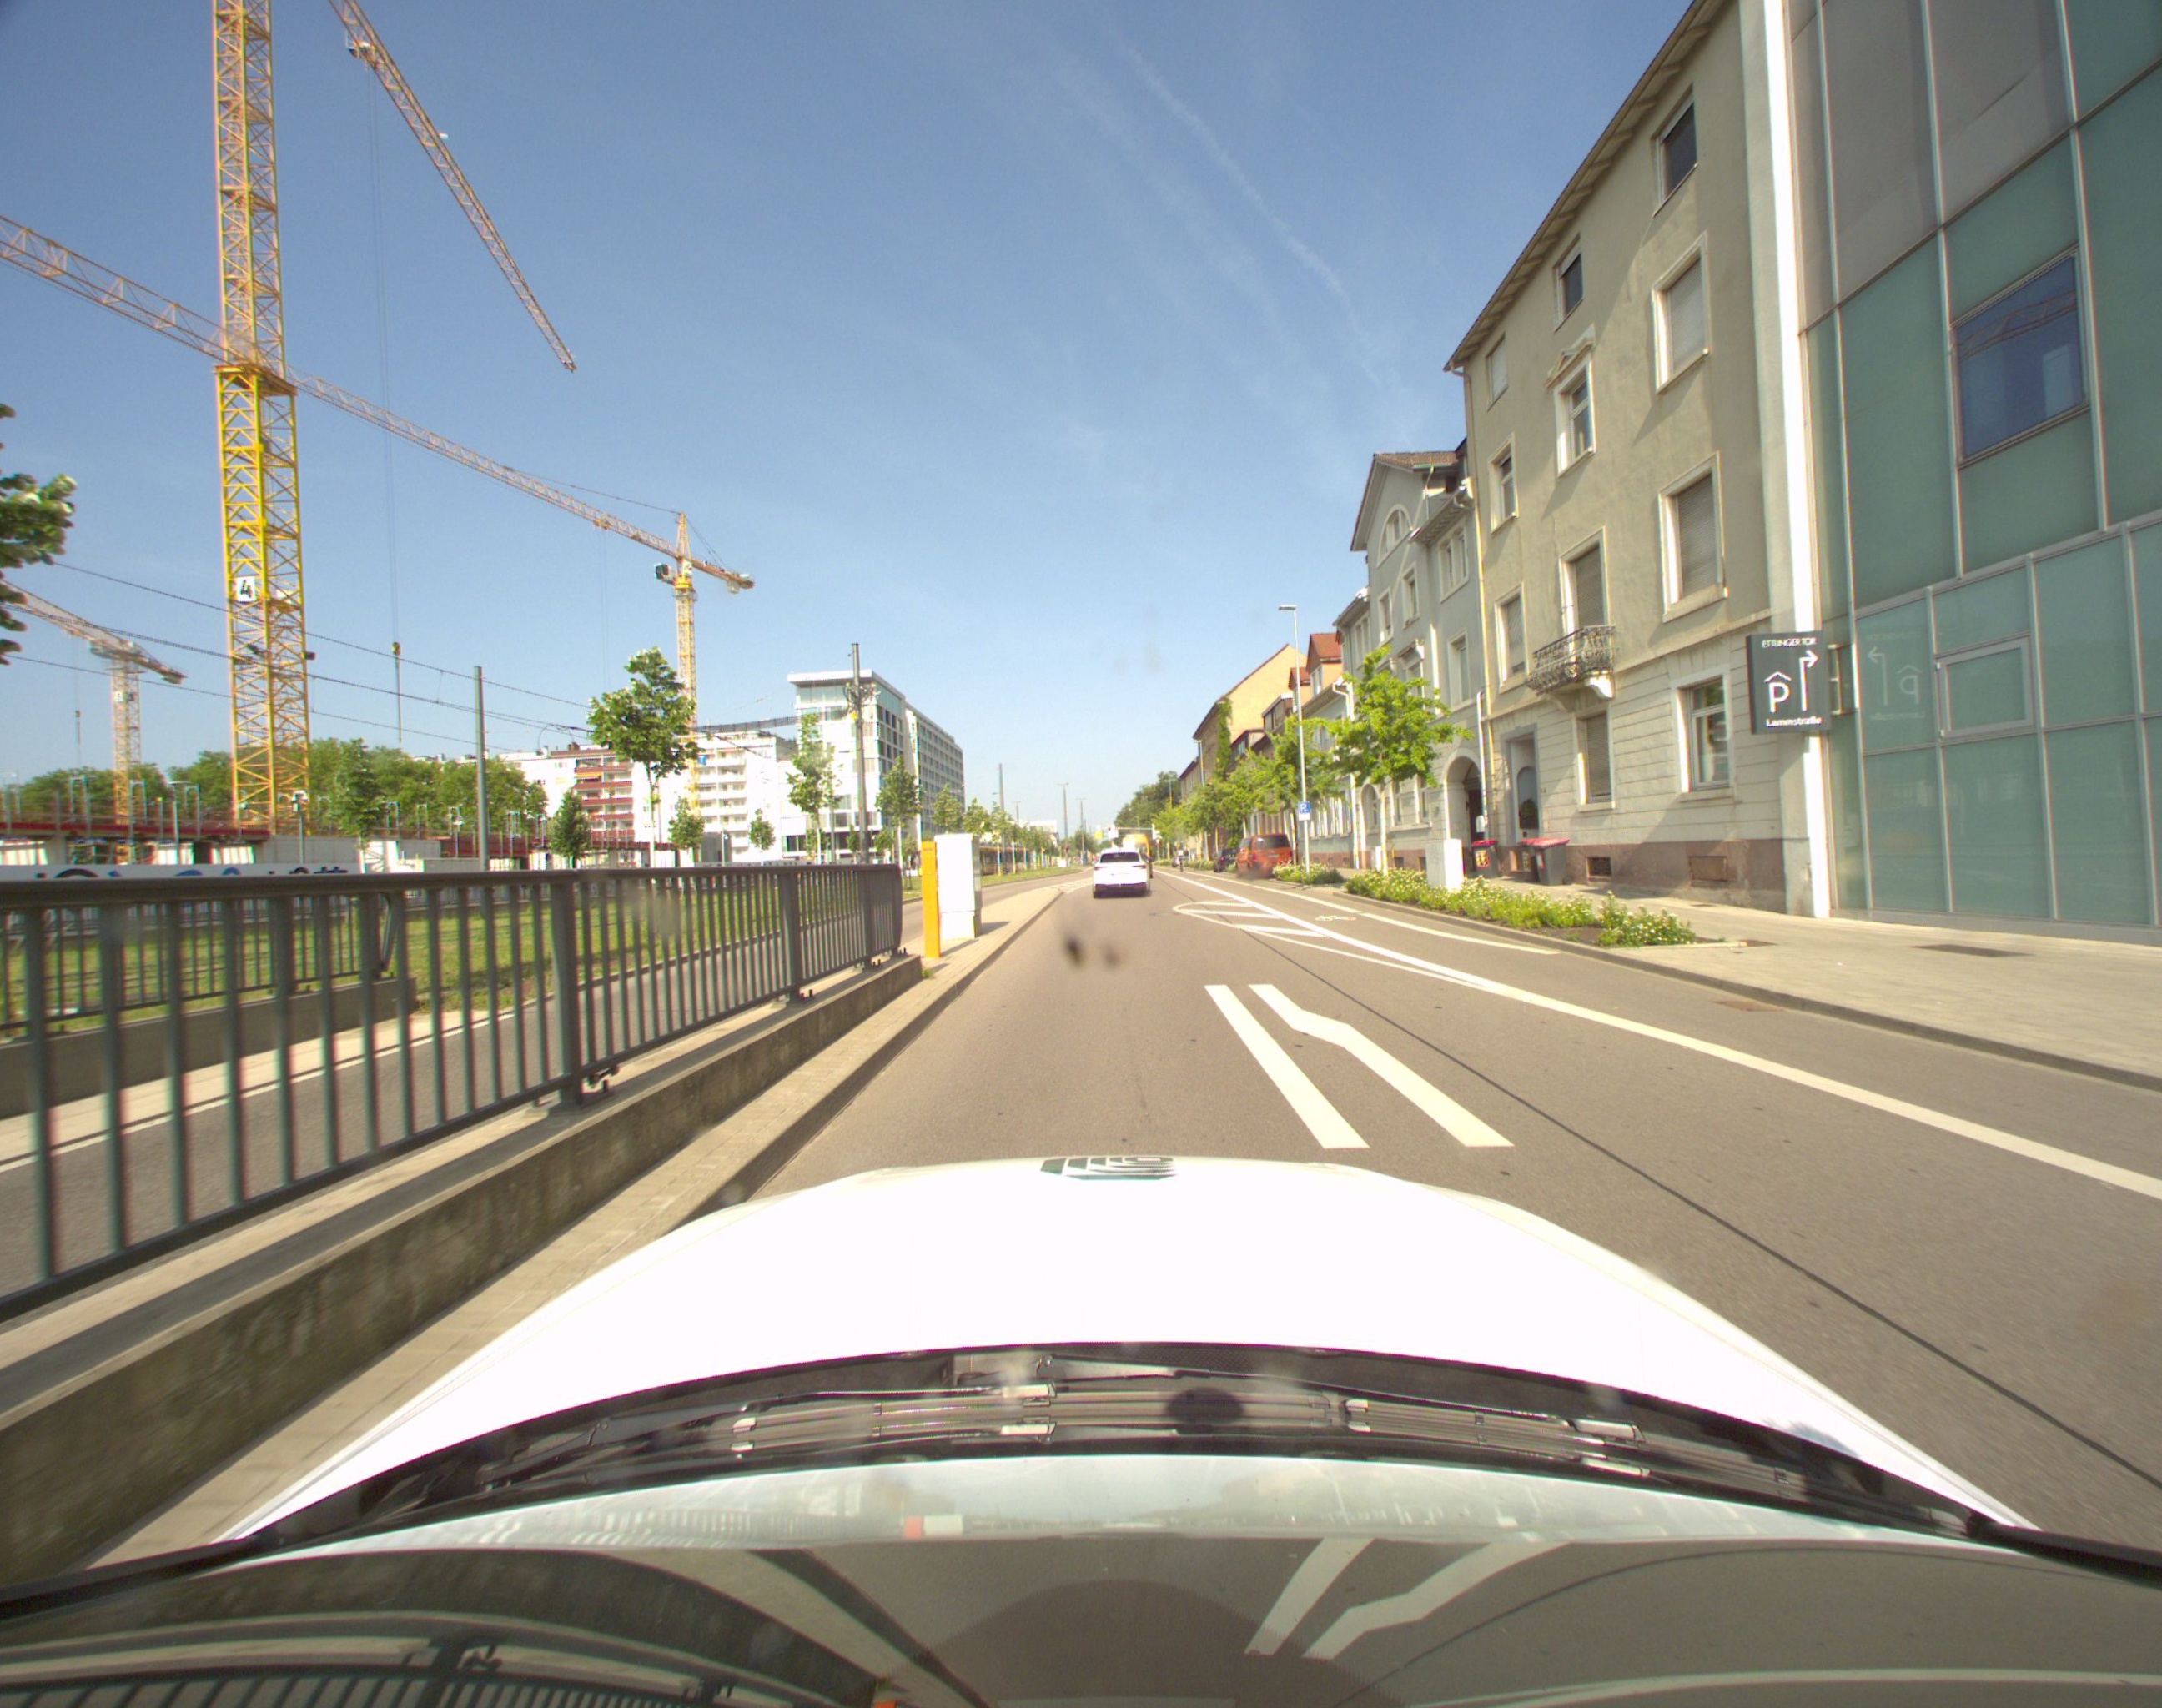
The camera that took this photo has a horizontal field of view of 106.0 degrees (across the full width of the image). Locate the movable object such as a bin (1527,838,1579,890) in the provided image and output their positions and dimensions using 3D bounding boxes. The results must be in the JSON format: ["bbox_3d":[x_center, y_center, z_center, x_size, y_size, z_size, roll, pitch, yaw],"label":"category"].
[{"bbox_3d":[11.214,0.235,19.368,0.778,1.172,0.808,-2,2,1],"label":"movable object such as a bin"}]

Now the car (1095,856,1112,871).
[{"bbox_3d":[2.865,1.177,101.127,1.922,1.821,4.004,-2,0,3],"label":"car"}]

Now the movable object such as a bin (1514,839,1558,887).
[{"bbox_3d":[11.353,0.210,20.335,0.702,1.152,0.671,-2,2,1],"label":"movable object such as a bin"}]

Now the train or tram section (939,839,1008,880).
[{"bbox_3d":[-10.646,0.562,83.657,2.892,3.676,18.163,-1,-1,6],"label":"train or tram section"}]

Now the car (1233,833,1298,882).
[{"bbox_3d":[8.418,0.122,37.576,2.055,2.013,4.590,-3,0,2],"label":"car"}]

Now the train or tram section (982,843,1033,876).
[{"bbox_3d":[-8.877,0.689,101.821,2.892,3.707,18.317,-1,-1,6],"label":"train or tram section"}]

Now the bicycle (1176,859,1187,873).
[{"bbox_3d":[7.289,0.854,59.027,0.652,0.939,1.519,-2,0,5],"label":"bicycle"}]

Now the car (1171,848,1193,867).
[{"bbox_3d":[9.983,0.340,80.789,1.805,1.812,3.837,-2,0,2],"label":"car"}]

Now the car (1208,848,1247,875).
[{"bbox_3d":[9.007,0.459,50.328,1.667,1.483,4.314,-4,-1,2],"label":"car"}]

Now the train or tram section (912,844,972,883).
[{"bbox_3d":[-14.011,0.928,83.735,2.849,3.537,14.905,-2,0,2],"label":"train or tram section"}]

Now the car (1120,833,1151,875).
[{"bbox_3d":[3.874,-0.063,58.864,2.012,2.795,5.405,-3,2,3],"label":"car"}]

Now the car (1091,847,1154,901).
[{"bbox_3d":[1.385,0.630,27.146,1.862,1.574,4.003,-3,0,3],"label":"car"}]

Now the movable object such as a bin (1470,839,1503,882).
[{"bbox_3d":[11.343,0.174,22.789,0.674,1.152,0.610,-4,2,-42],"label":"movable object such as a bin"}]

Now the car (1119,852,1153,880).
[{"bbox_3d":[2.999,0.641,45.151,1.753,1.436,4.118,-1,0,3],"label":"car"}]

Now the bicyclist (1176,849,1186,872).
[{"bbox_3d":[7.288,0.471,59.151,0.636,1.577,0.772,-2,0,4],"label":"bicyclist"}]
